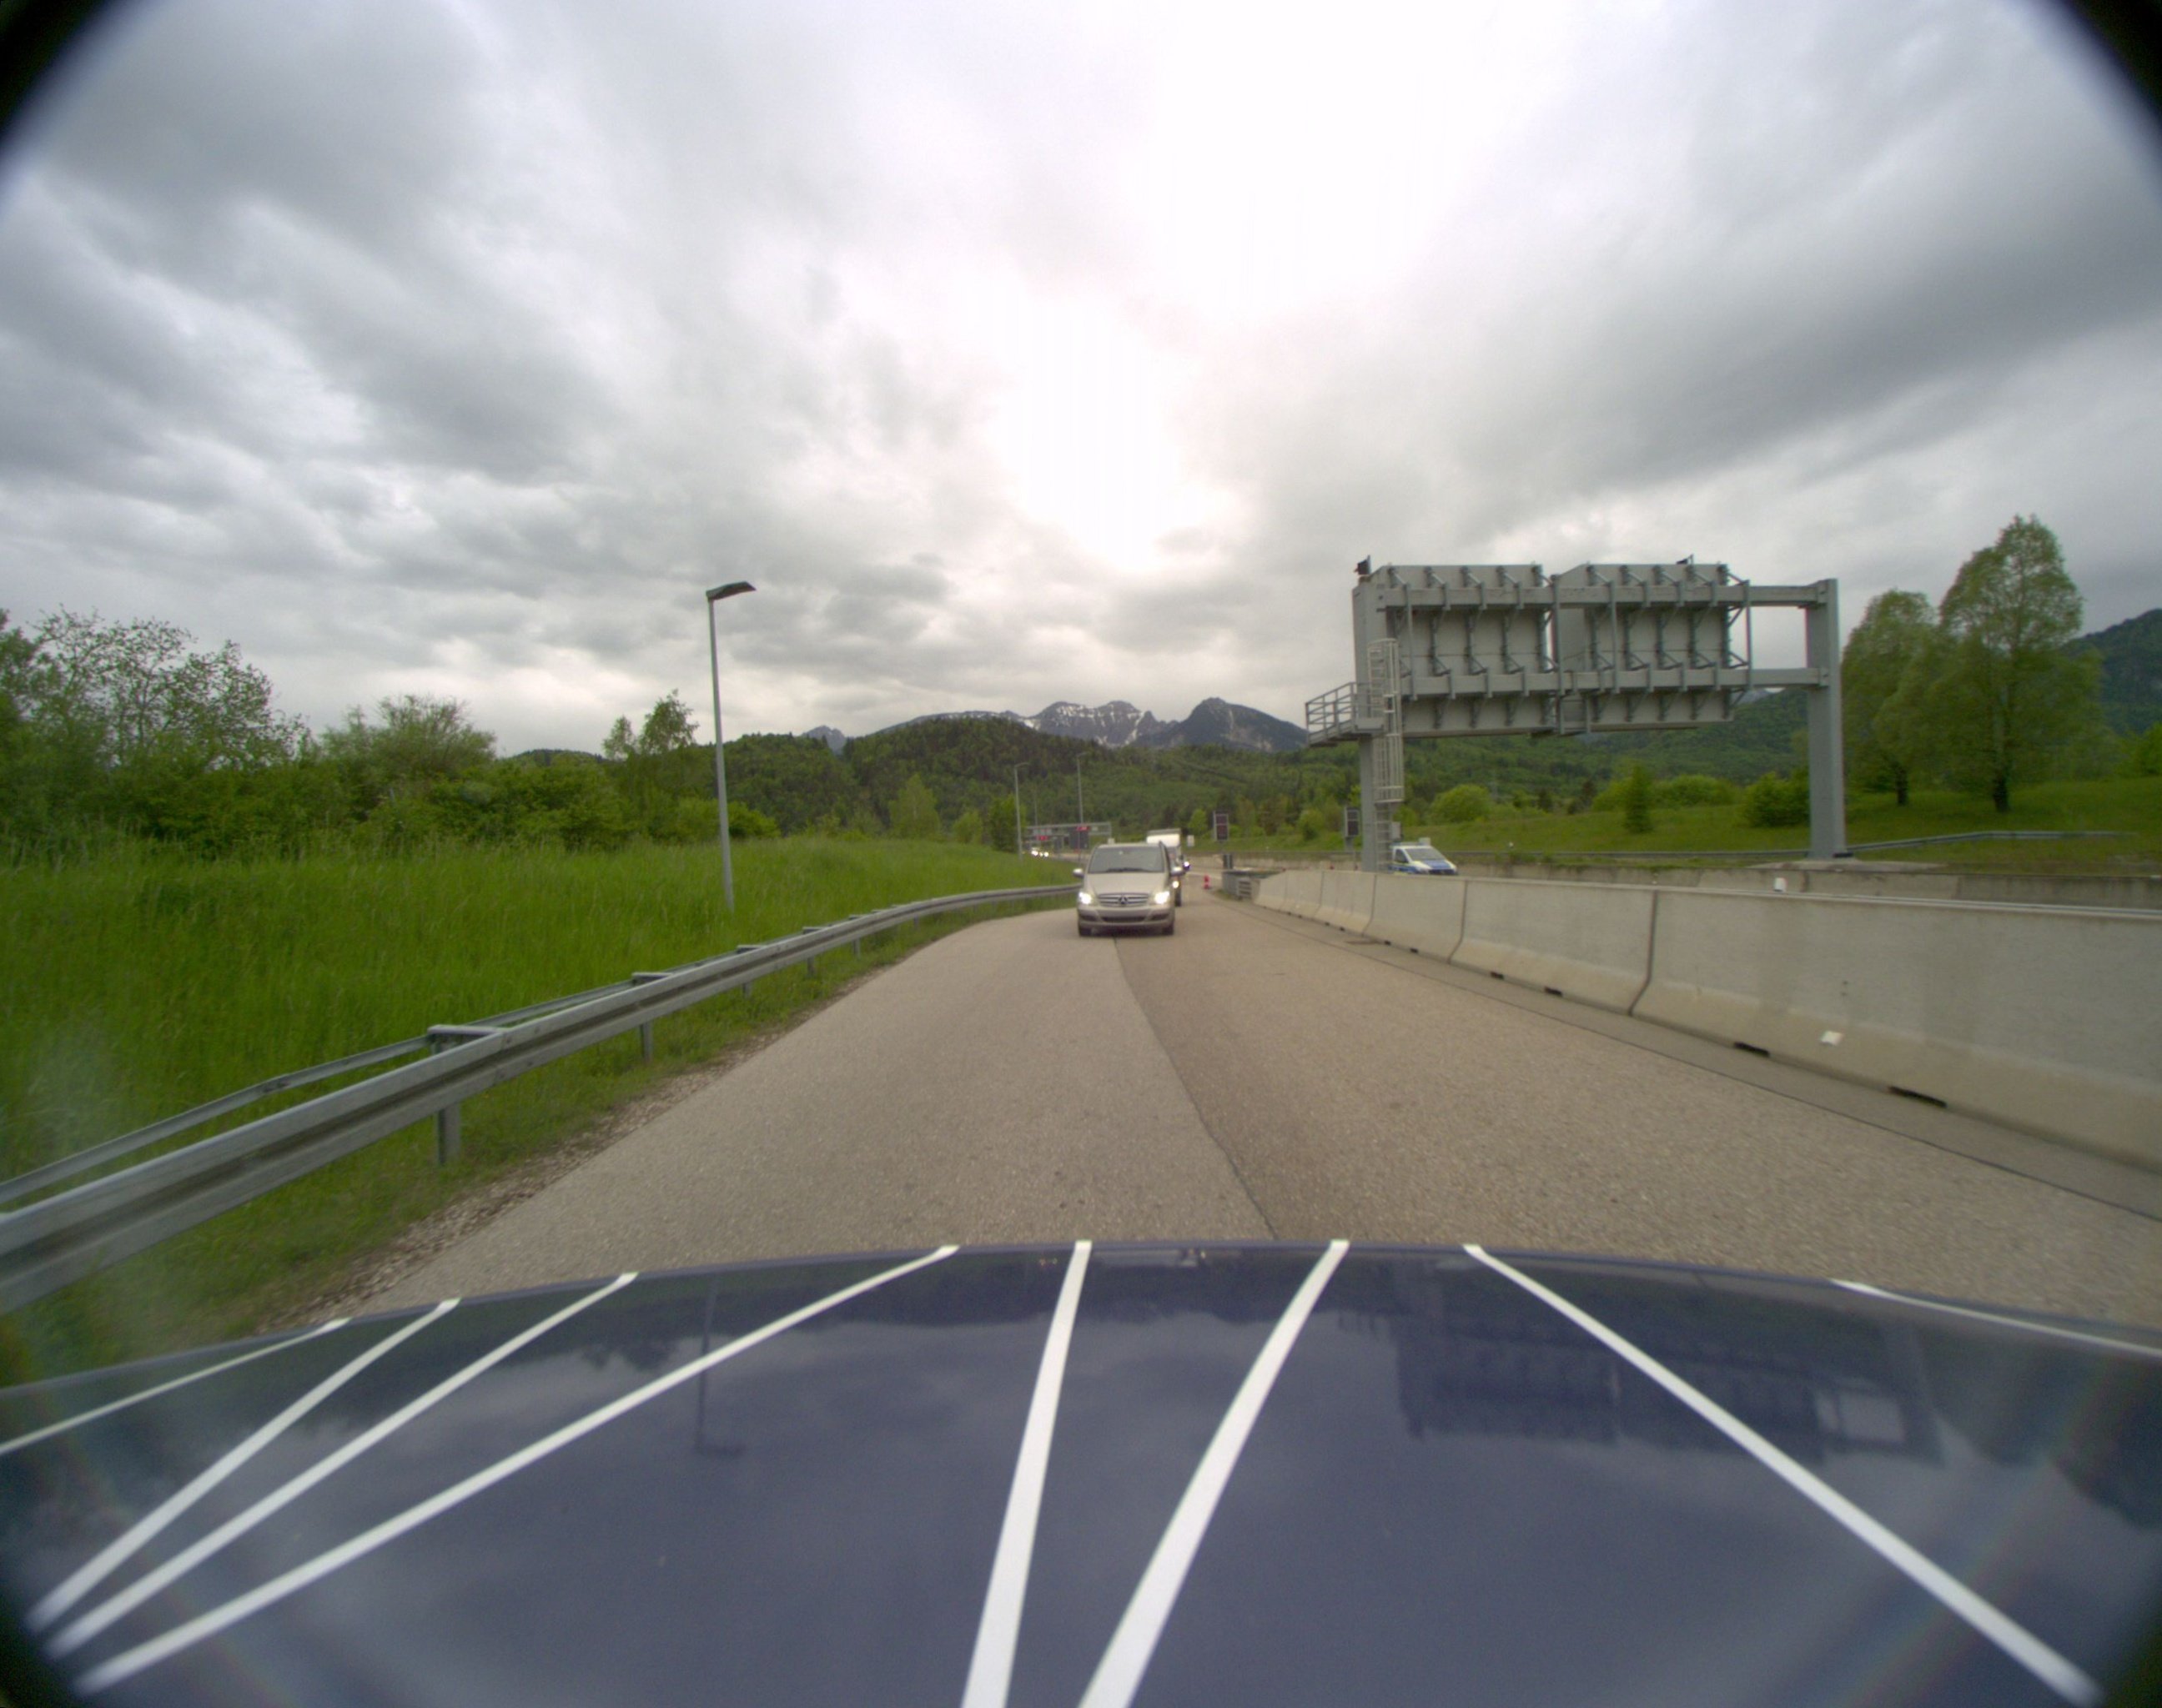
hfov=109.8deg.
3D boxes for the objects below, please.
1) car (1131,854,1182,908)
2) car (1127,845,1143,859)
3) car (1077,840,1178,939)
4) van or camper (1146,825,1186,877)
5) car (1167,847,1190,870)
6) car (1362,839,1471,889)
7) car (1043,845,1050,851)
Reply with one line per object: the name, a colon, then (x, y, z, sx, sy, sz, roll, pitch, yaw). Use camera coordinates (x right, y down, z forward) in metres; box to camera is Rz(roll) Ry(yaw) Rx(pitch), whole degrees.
car: (2.617, 0.867, 25.742, 1.590, 1.662, 4.002, -1, 0, 7)
car: (6.383, -0.233, 90.338, 1.720, 1.629, 4.349, -1, 0, 3)
car: (1.196, 0.642, 16.896, 1.861, 1.833, 5.619, -1, 1, 7)
van or camper: (6.022, -0.245, 53.410, 2.581, 3.372, 7.359, -1, 1, 7)
car: (8.256, 0.345, 64.424, 1.741, 1.755, 4.001, -4, 0, 6)
car: (14.597, 0.403, 33.455, 2.105, 2.002, 5.048, -1, 1, -6)
car: (-9.445, -1.568, 208.124, 1.738, 1.646, 3.997, -1, 0, -6)
